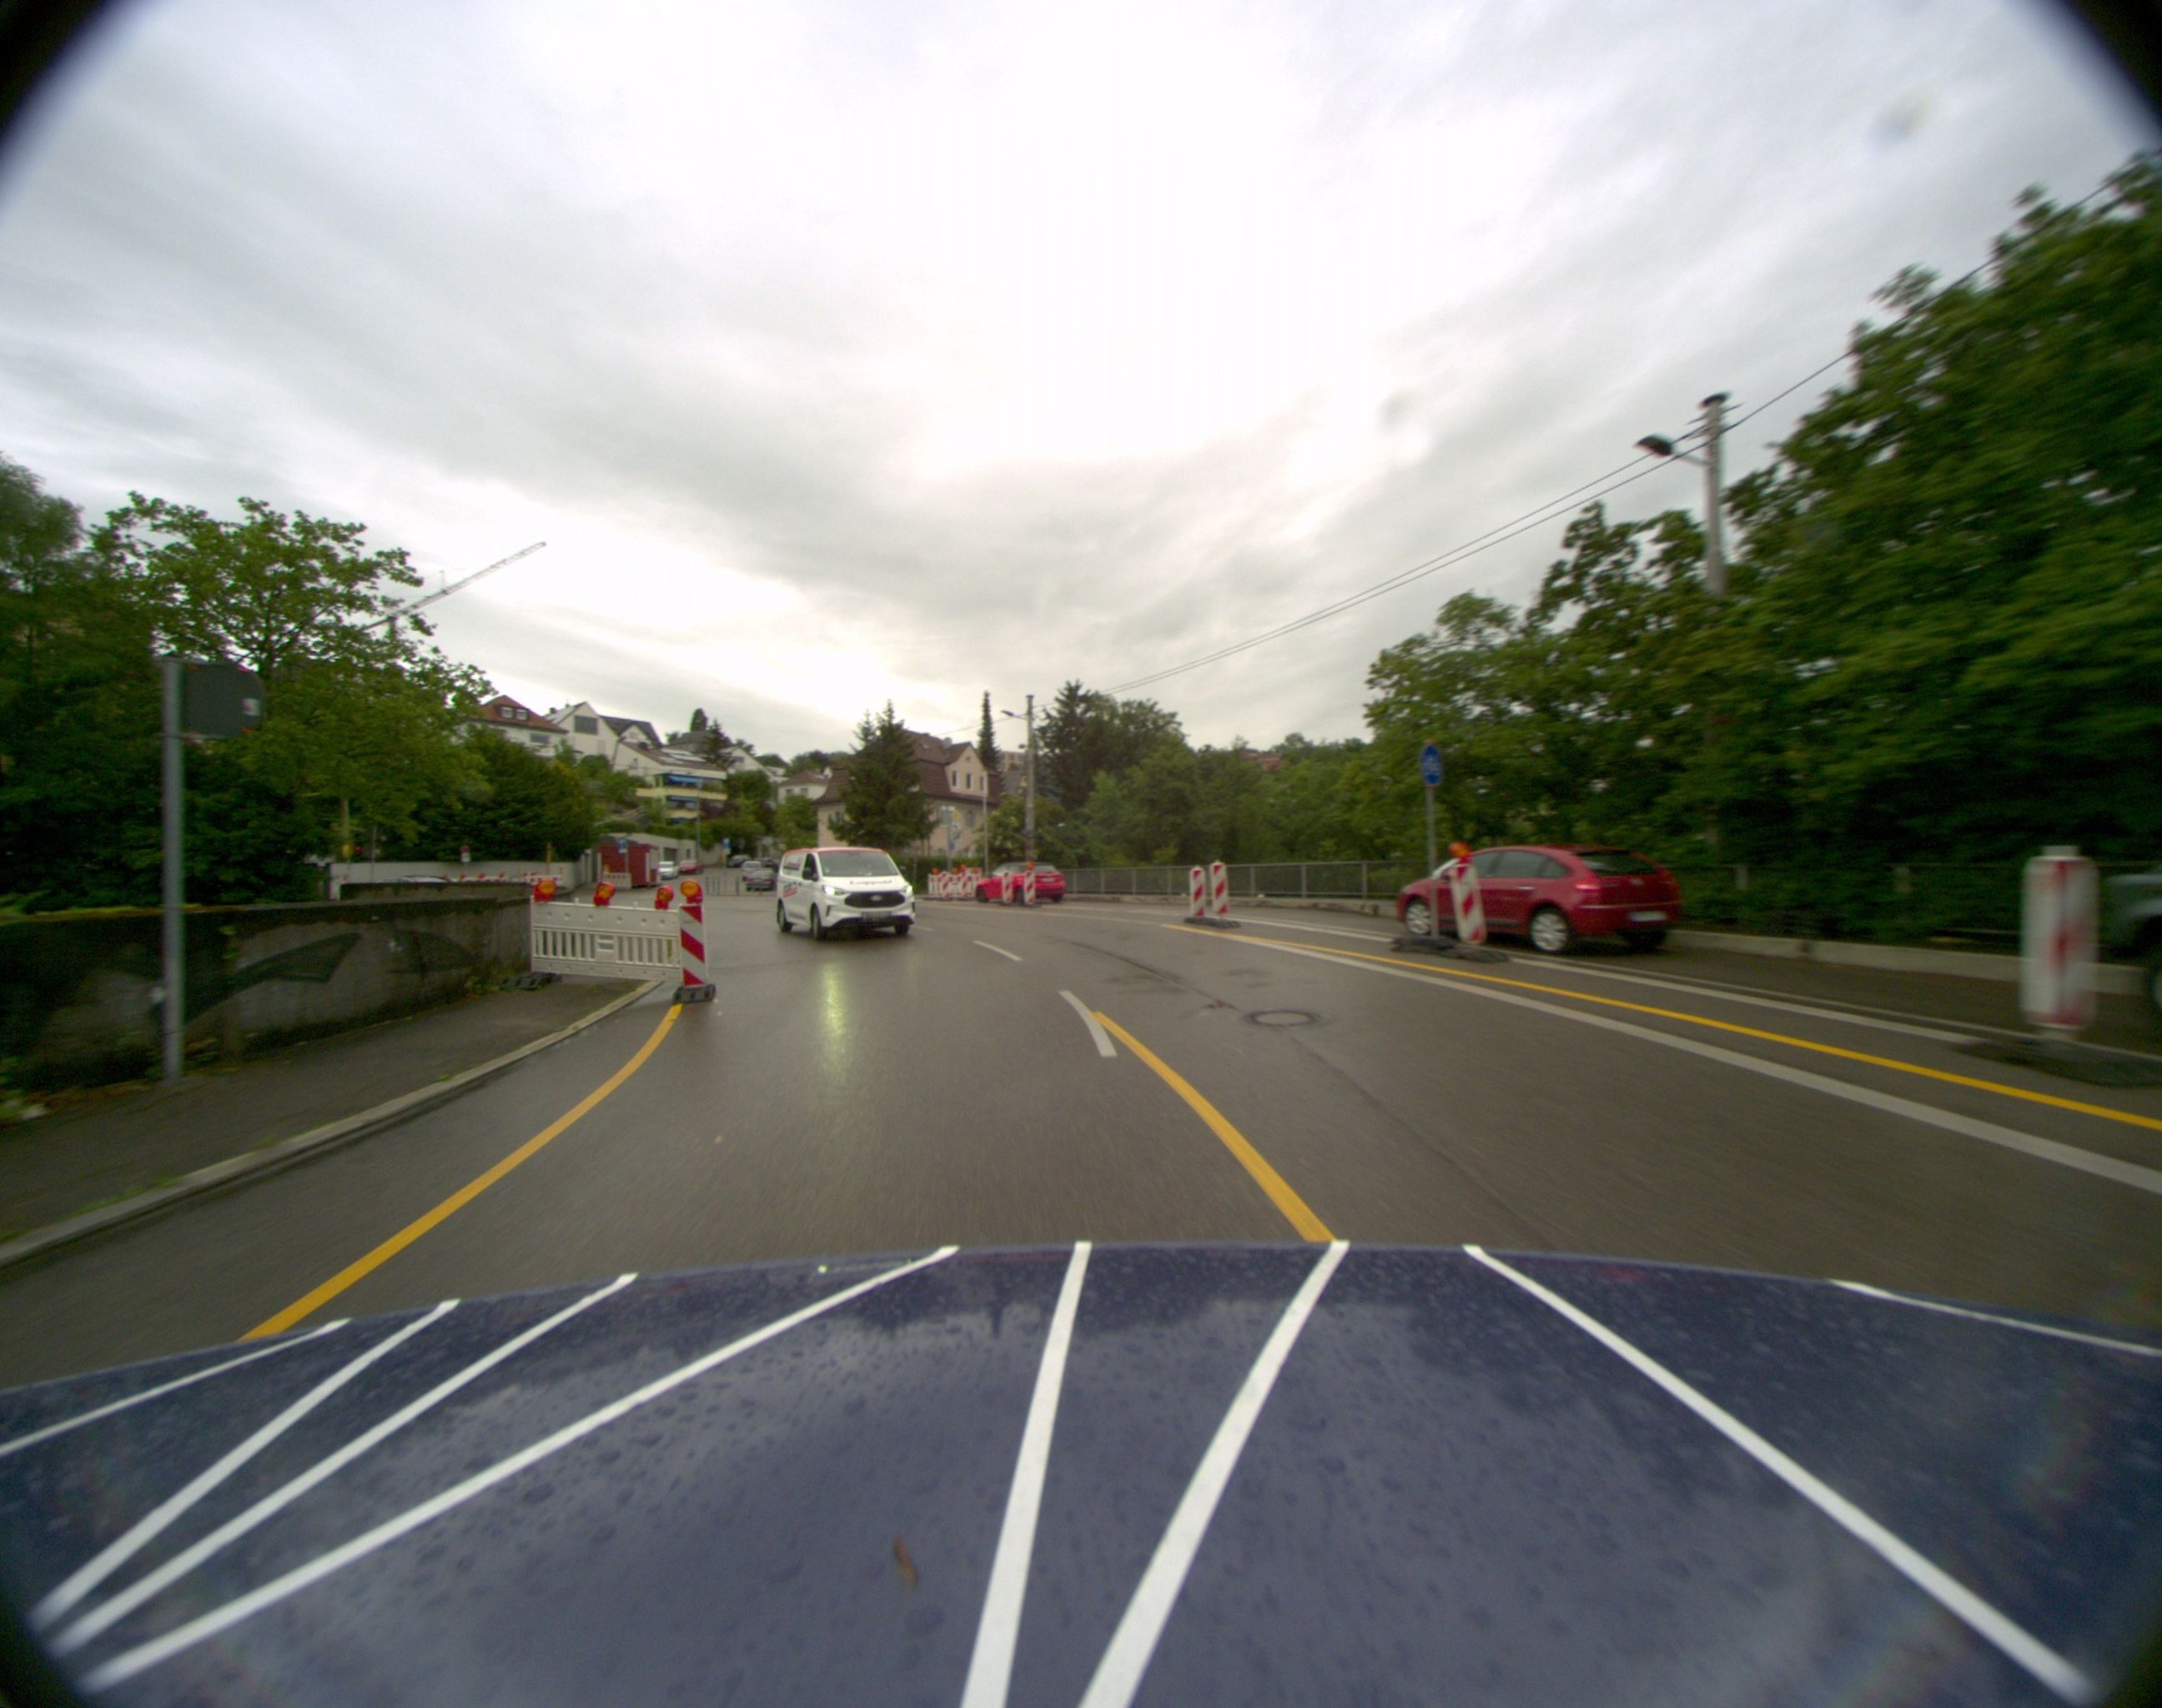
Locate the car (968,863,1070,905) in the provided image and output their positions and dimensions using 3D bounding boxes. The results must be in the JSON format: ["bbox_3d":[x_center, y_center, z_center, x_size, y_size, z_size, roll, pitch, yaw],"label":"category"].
[{"bbox_3d":[-2.343,1.035,27.862,1.694,1.390,4.125,1,0,-38],"label":"car"}]

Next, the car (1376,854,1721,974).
[{"bbox_3d":[6.721,0.767,11.598,1.967,1.431,4.317,-1,-1,-14],"label":"car"}]

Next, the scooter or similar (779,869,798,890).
[{"bbox_3d":[-16.459,1.446,42.768,0.243,1.157,1.039,1,0,41],"label":"scooter or similar"}]

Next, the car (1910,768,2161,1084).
[{"bbox_3d":[7.832,0.418,3.817,1.871,2.001,4.812,-2,-1,-4],"label":"car"}]

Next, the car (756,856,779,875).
[{"bbox_3d":[-31.180,1.107,75.537,2.003,1.696,3.991,2,1,-24],"label":"car"}]

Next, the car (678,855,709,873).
[{"bbox_3d":[-37.711,0.995,73.964,1.876,1.651,3.996,1,-3,-16],"label":"car"}]

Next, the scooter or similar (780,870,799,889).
[{"bbox_3d":[-16.691,1.457,43.542,0.243,1.063,1.039,1,0,43],"label":"scooter or similar"}]

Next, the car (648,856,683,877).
[{"bbox_3d":[-36.035,1.070,66.036,2.002,1.652,3.992,2,1,-19],"label":"car"}]

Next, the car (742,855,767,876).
[{"bbox_3d":[-28.695,0.971,66.800,1.877,1.652,3.991,2,1,-23],"label":"car"}]

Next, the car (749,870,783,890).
[{"bbox_3d":[-21.155,1.727,51.174,1.676,1.259,4.198,1,0,-16],"label":"car"}]

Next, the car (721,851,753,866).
[{"bbox_3d":[-39.440,0.464,87.296,1.881,1.485,3.998,-3,2,-2],"label":"car"}]

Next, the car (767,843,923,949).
[{"bbox_3d":[-5.500,0.821,17.212,2.003,2.002,4.936,-2,1,-34],"label":"car"}]

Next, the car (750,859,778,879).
[{"bbox_3d":[-23.595,1.111,56.478,1.678,1.394,4.195,1,0,-26],"label":"car"}]
